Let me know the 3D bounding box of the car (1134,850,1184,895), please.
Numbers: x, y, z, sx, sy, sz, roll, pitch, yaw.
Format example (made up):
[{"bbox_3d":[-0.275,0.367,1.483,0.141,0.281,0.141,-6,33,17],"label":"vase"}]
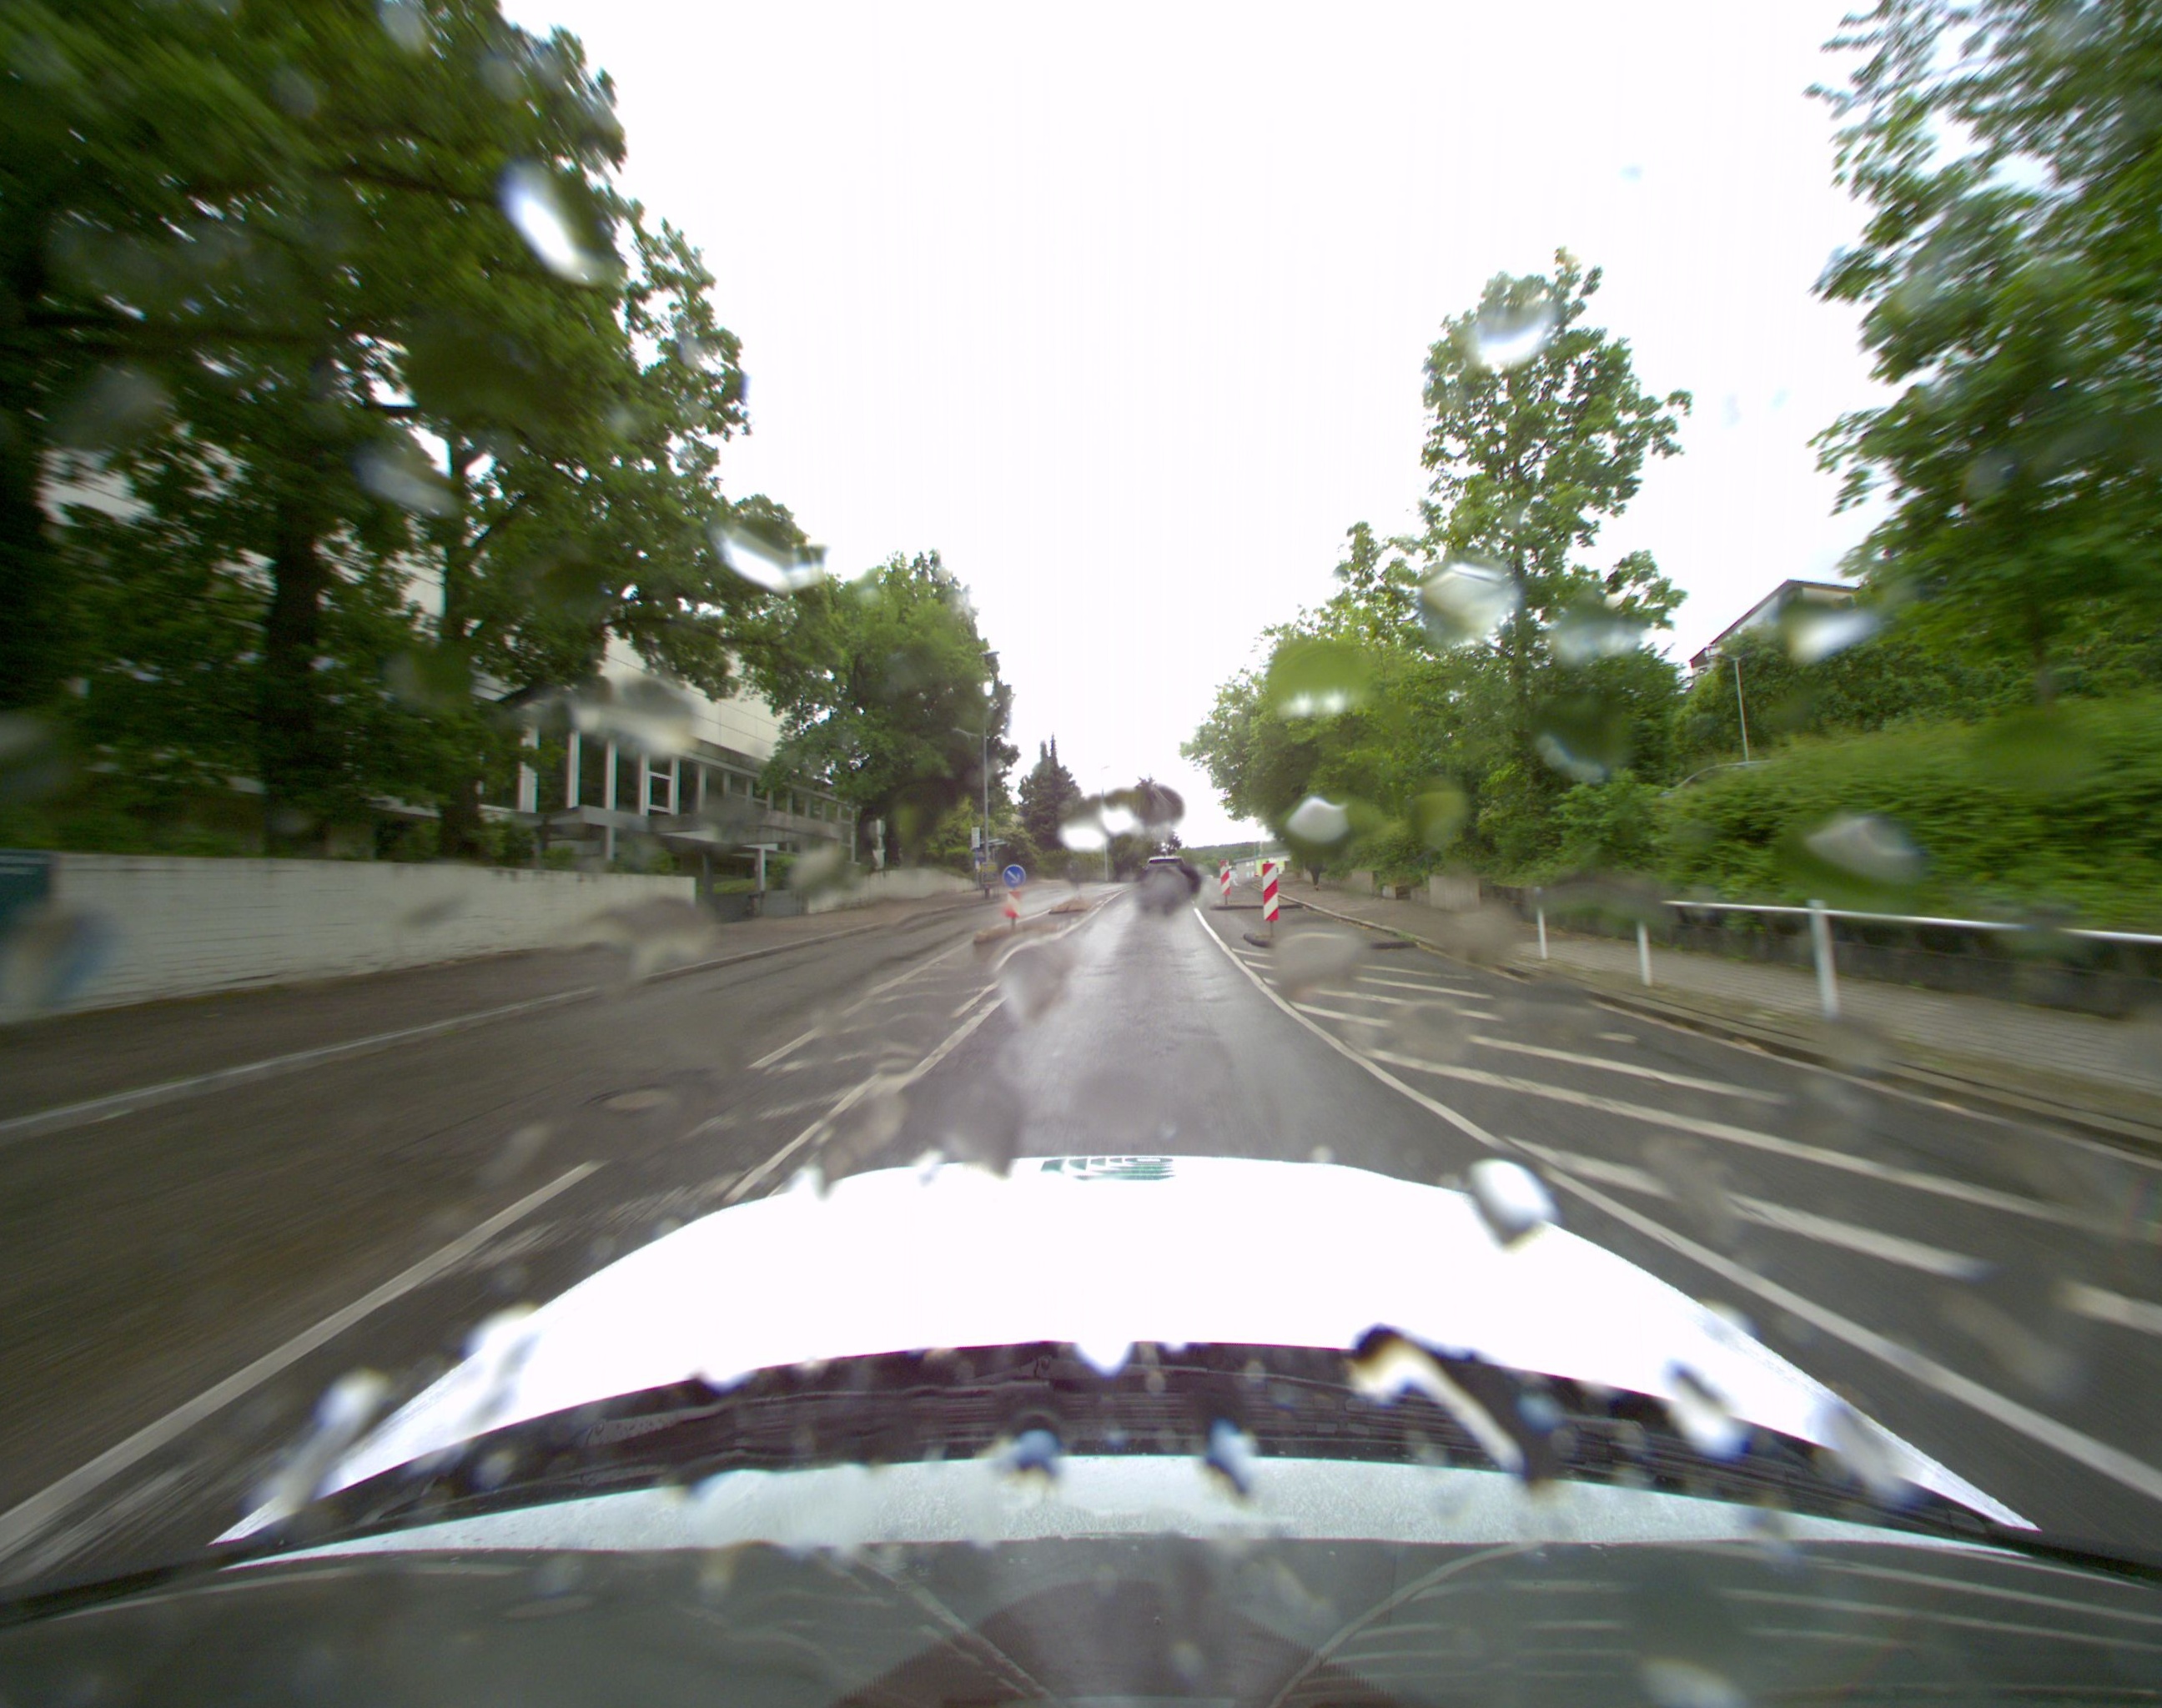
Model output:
[{"bbox_3d":[3.007,0.678,32.149,1.782,1.603,4.257,-3,0,3],"label":"car"}]

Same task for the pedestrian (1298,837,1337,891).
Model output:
[{"bbox_3d":[8.676,0.392,29.910,1.048,1.894,1.133,-2,-3,0],"label":"pedestrian"}]
